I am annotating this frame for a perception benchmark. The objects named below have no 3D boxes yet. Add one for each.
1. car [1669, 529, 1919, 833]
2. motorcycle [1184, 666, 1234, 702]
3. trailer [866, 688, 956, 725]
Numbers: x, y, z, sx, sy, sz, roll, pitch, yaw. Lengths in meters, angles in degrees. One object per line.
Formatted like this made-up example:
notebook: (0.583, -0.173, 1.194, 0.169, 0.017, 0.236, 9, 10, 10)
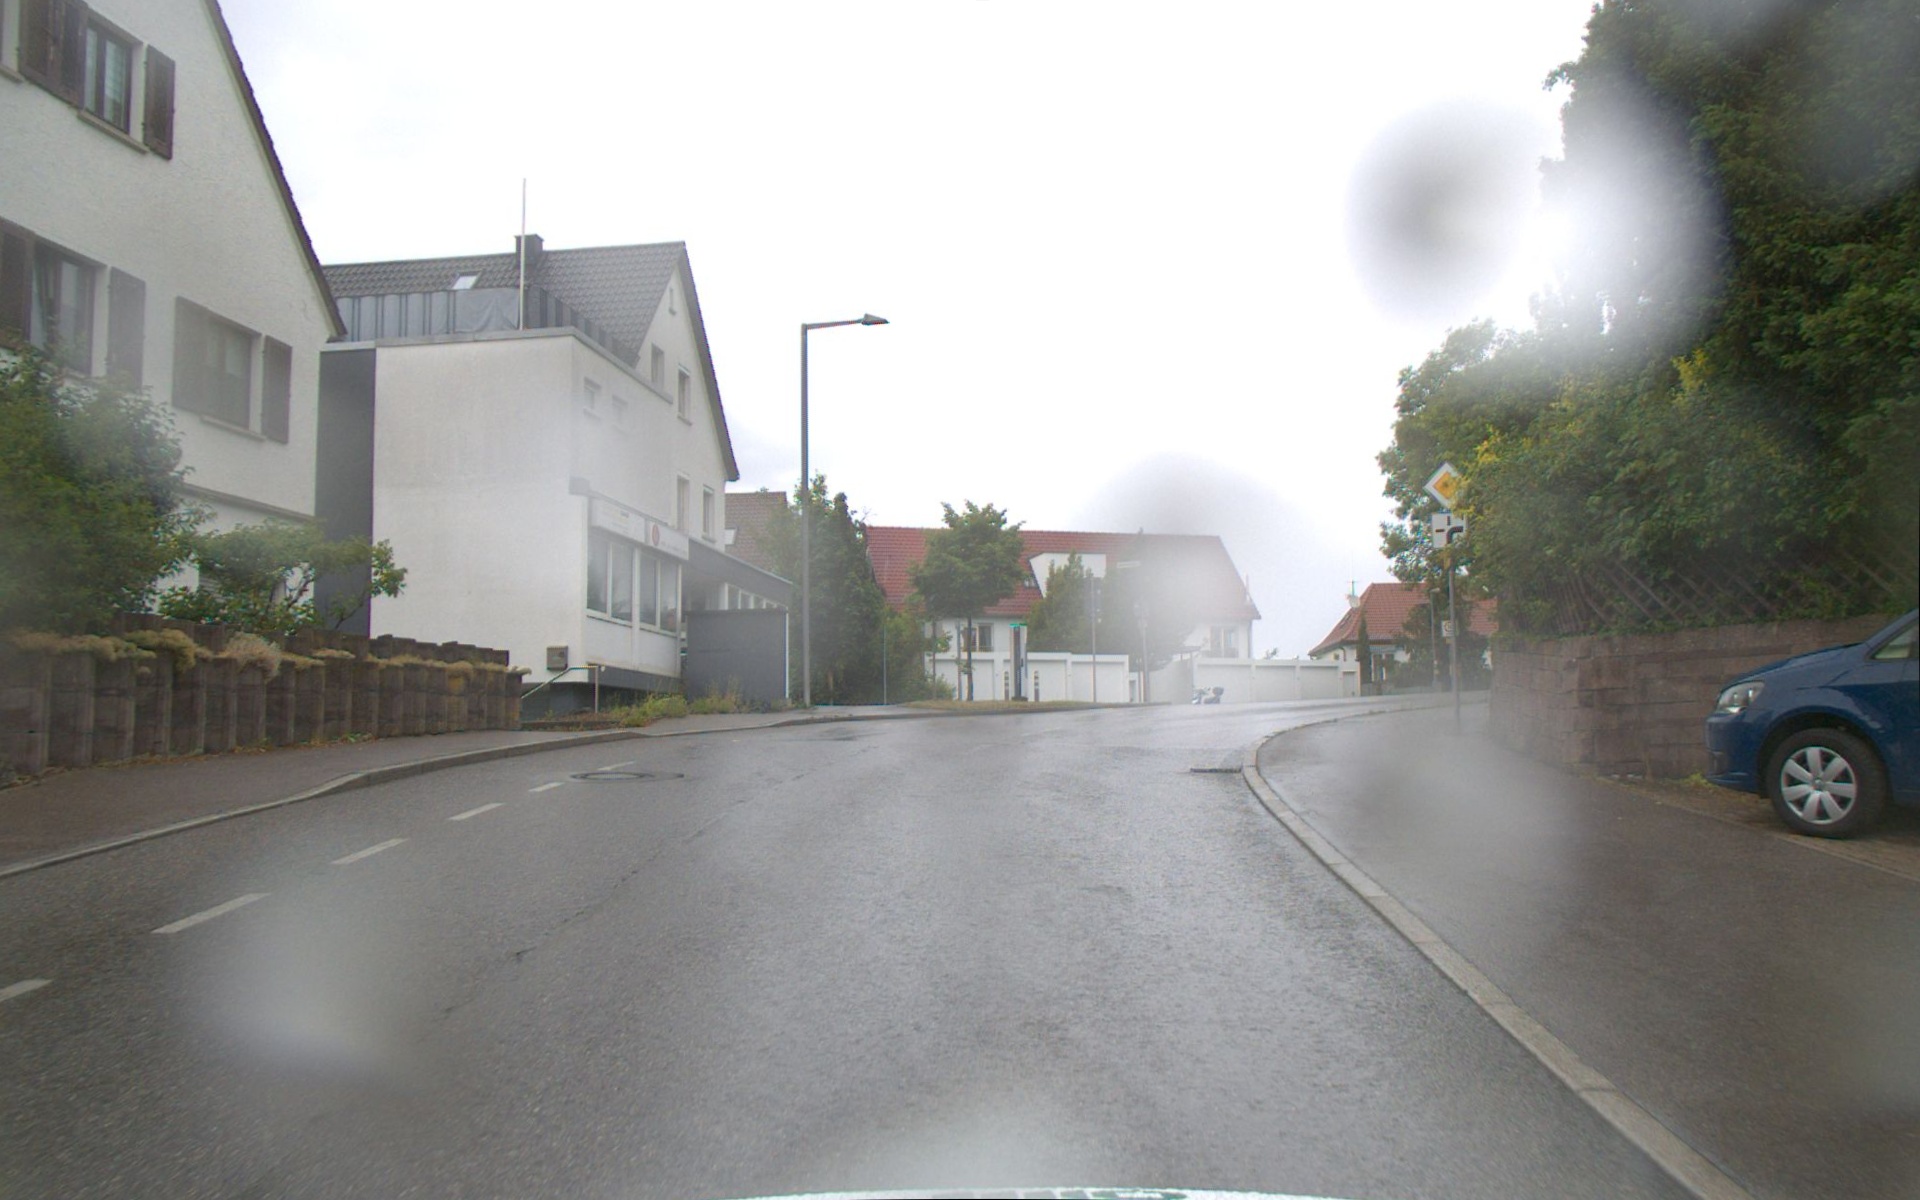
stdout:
car: (6.505, 0.363, 9.189, 1.843, 1.634, 4.271, -6, 1, -43)
motorcycle: (9.940, 3.337, 65.926, 2.026, 1.345, 0.699, 0, -5, -39)
trailer: (-1.656, 3.627, 56.447, 2.754, 1.024, 1.594, -5, -4, 9)
